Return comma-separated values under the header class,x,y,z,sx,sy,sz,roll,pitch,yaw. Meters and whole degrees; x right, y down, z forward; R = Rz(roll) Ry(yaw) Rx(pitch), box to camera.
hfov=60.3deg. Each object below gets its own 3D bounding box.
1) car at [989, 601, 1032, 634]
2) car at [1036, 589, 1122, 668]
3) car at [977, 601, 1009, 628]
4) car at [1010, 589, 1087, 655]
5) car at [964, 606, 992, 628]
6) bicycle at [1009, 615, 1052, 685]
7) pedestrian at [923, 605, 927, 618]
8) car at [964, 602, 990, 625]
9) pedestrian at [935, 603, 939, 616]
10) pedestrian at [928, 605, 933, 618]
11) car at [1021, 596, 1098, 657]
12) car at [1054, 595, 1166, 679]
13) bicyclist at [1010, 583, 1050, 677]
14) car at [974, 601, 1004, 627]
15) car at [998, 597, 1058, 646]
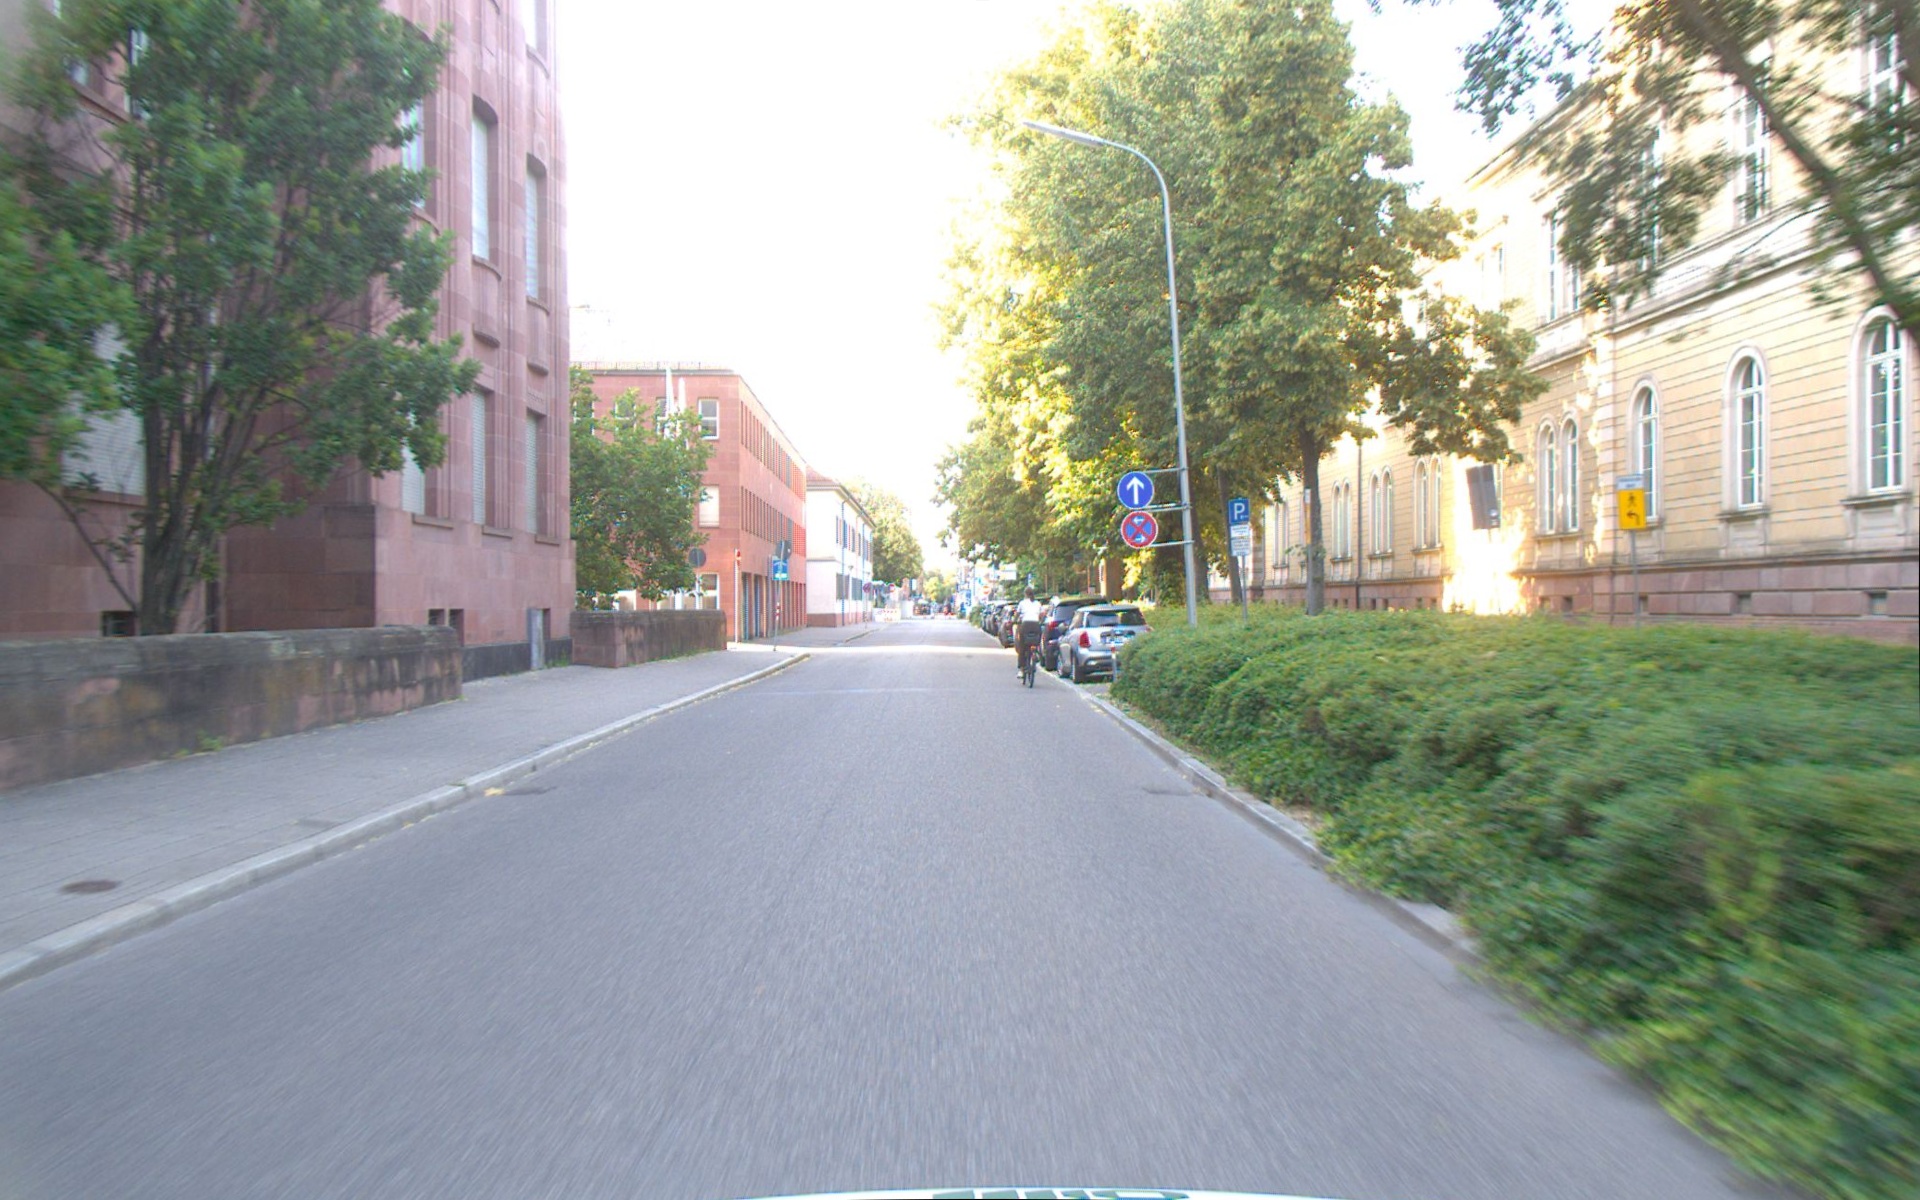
class,x,y,z,sx,sy,sz,roll,pitch,yaw
car,2.552,0.879,84.083,1.953,1.613,3.999,-1,0,-2
car,2.739,0.628,38.882,1.680,1.742,4.472,-1,0,0
car,2.152,0.950,108.881,1.953,1.657,3.999,-1,0,-2
car,2.595,0.633,49.525,1.953,1.847,3.999,-1,0,-2
car,1.549,1.448,142.588,2.235,1.886,4.908,-1,0,-2
bicycle,1.276,0.896,30.308,0.625,1.214,1.875,1,0,-2
pedestrian,-4.215,1.363,200.108,0.523,1.498,0.448,-1,0,-3
car,1.752,1.404,170.583,2.443,2.234,4.908,-1,0,-2
pedestrian,-2.758,1.168,197.521,0.523,1.498,0.448,-1,0,-3
pedestrian,-3.543,1.355,197.658,0.523,1.498,0.448,-1,0,-3
car,2.669,0.678,45.040,1.681,1.564,4.046,-1,0,-2
car,2.888,0.718,32.499,1.651,1.472,3.670,-3,-1,-2
bicyclist,1.279,0.548,30.349,0.626,1.696,0.842,1,0,-2
car,2.102,1.019,120.355,1.953,1.780,3.999,-1,0,-2
car,2.504,0.797,62.124,1.953,1.736,3.999,-1,0,-2
